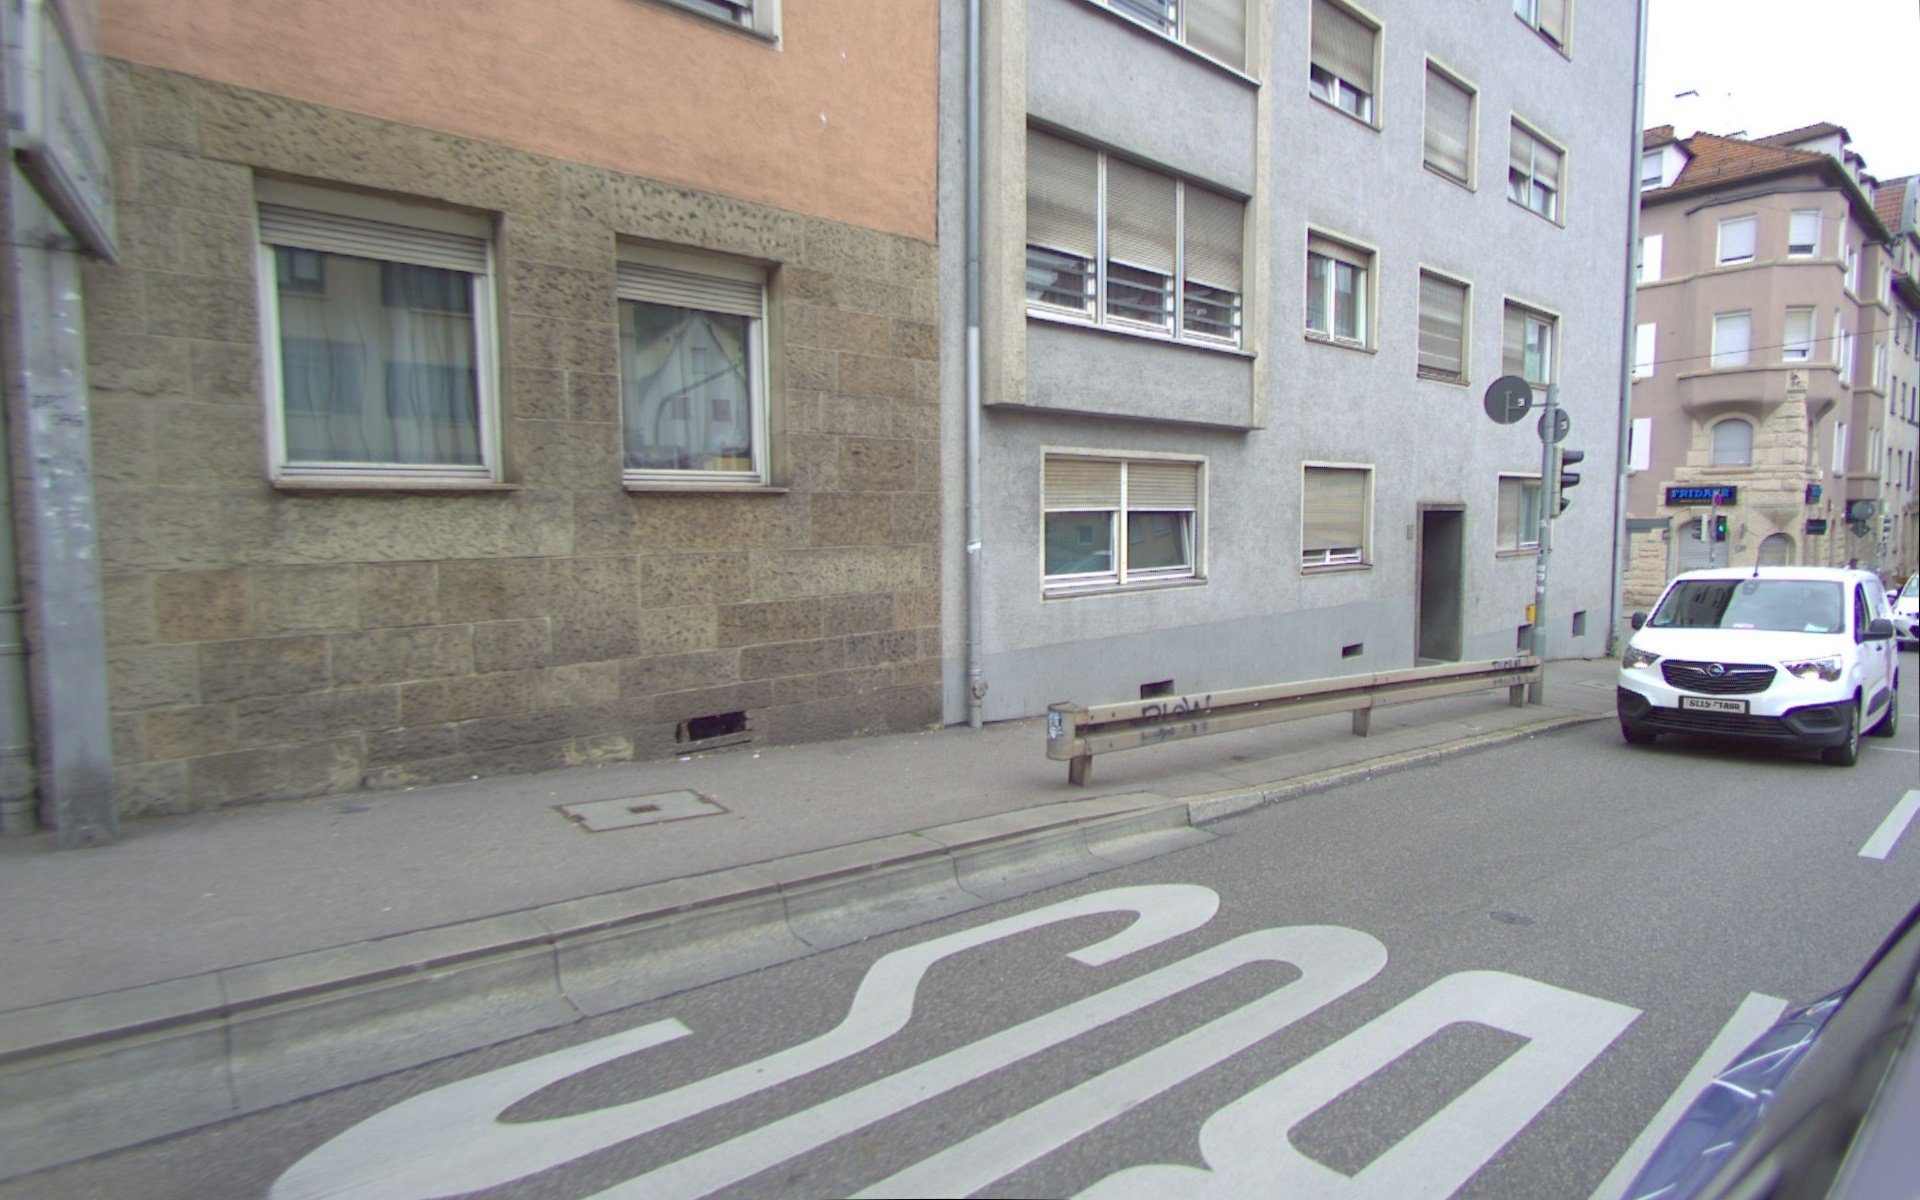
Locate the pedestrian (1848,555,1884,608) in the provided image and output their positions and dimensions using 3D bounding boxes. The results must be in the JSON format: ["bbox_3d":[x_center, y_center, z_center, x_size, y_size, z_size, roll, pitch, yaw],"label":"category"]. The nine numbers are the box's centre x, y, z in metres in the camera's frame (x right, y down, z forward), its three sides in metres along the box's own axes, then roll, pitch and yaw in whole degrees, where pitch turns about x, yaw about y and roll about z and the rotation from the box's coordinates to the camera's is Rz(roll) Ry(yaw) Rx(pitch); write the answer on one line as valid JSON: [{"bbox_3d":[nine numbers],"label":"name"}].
[{"bbox_3d":[28.845,-0.606,32.214,0.988,1.668,0.734,-1,3,-43],"label":"pedestrian"}]

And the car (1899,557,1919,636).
[{"bbox_3d":[21.686,-0.087,21.826,4.092,1.628,1.778,-1,1,-42],"label":"car"}]

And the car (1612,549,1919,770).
[{"bbox_3d":[8.583,0.434,10.538,4.760,1.811,1.787,-1,2,-42],"label":"car"}]
